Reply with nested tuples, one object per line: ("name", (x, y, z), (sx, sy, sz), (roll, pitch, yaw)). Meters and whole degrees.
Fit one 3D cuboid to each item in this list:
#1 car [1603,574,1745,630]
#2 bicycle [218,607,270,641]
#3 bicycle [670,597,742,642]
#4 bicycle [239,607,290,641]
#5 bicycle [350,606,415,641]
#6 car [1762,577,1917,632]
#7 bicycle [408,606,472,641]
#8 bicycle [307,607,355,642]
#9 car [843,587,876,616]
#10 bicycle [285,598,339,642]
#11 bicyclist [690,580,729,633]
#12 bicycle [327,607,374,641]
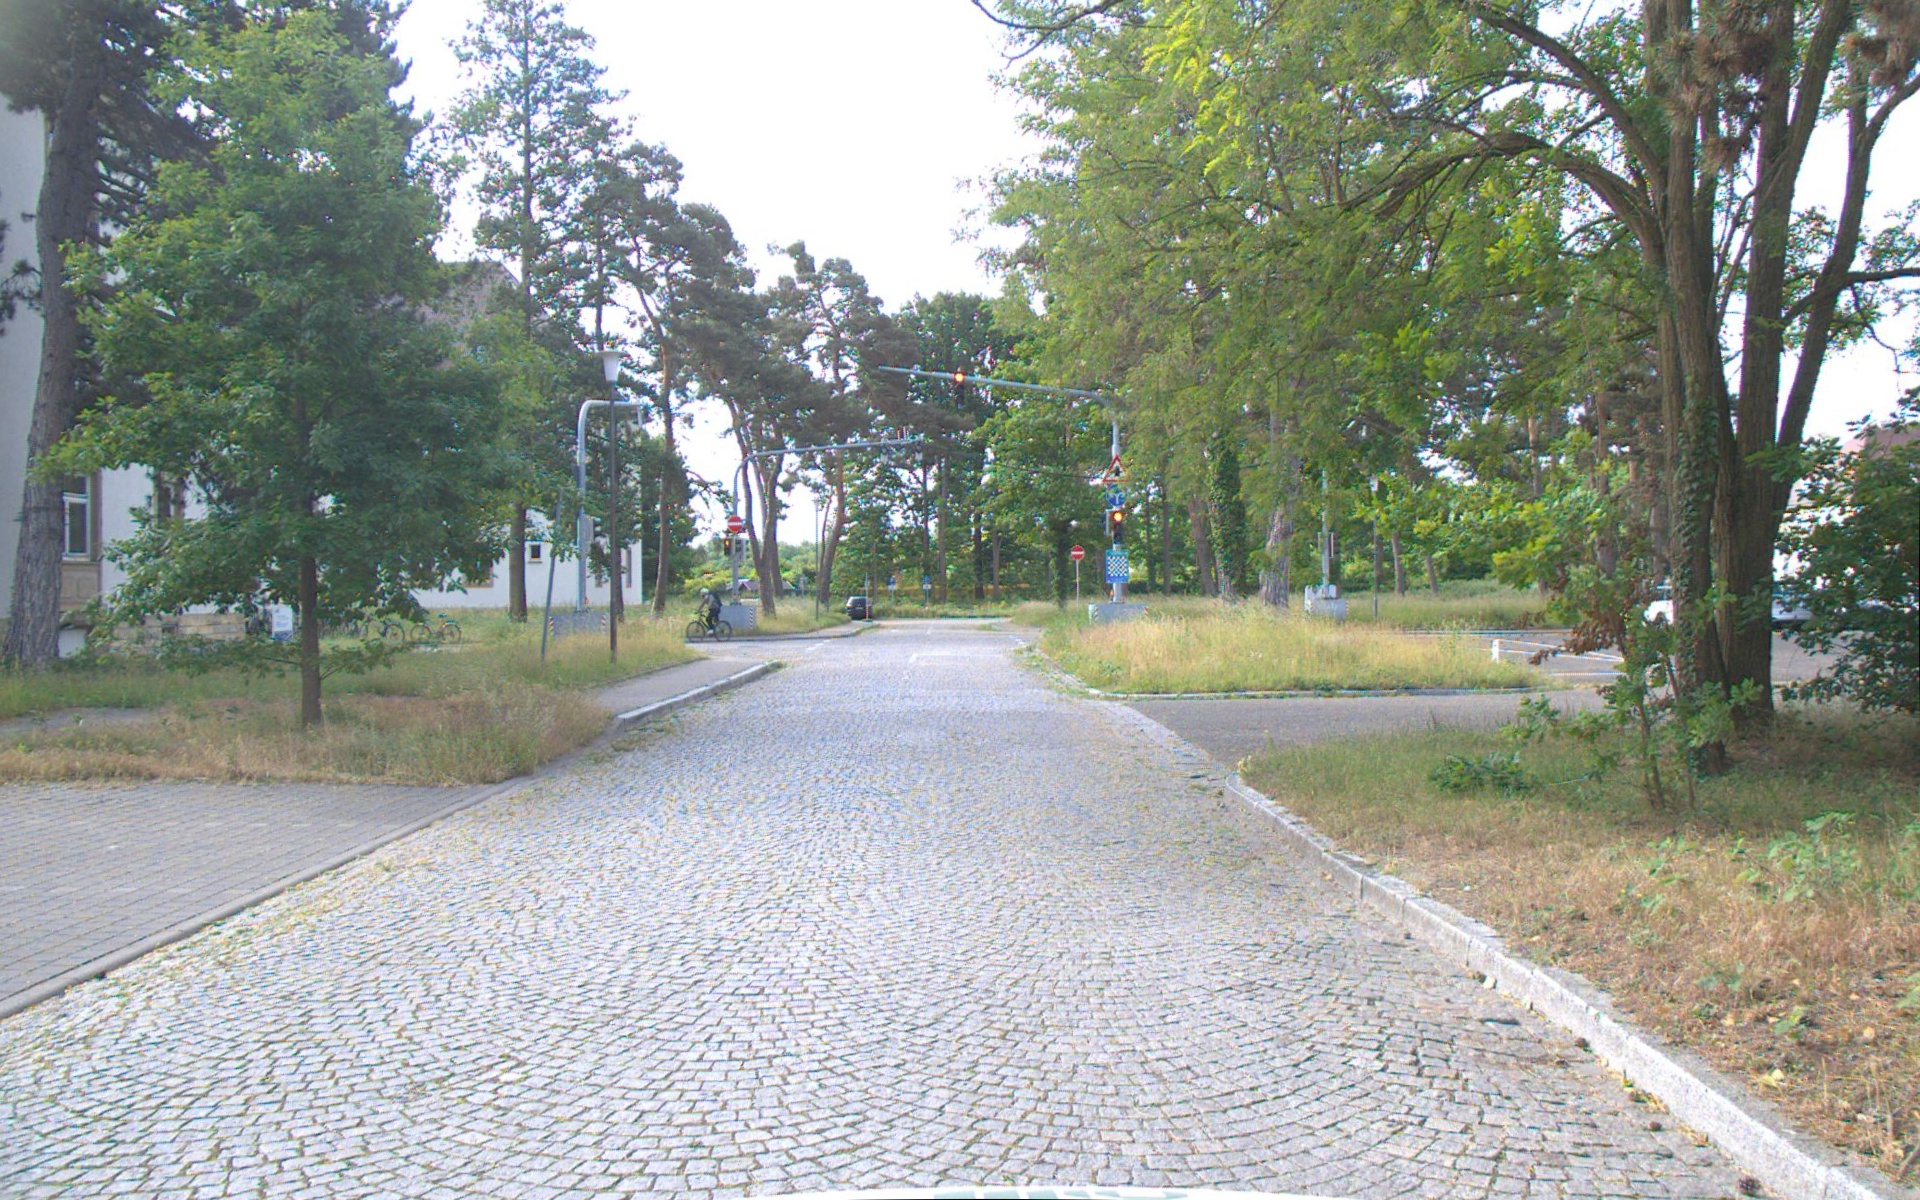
("car", (20.682, 0.085, 48.095), (1.954, 1.507, 4.421), (-1, -1, -4))
("bicycle", (-23.698, 0.783, 54.775), (0.721, 1.095, 2.273), (-1, 0, 0))
("bicycle", (-8.354, 0.641, 54.462), (2.167, 1.411, 0.925), (-1, 0, -42))
("bicycle", (-22.979, 0.778, 54.715), (0.721, 1.095, 2.273), (-1, 0, 0))
("bicycle", (-18.726, 0.762, 53.639), (1.818, 1.095, 0.738), (-1, 0, 1))
("car", (25.759, 0.155, 48.647), (1.954, 1.507, 4.421), (-1, -1, -4))
("bicycle", (-16.875, 0.751, 53.706), (1.818, 1.095, 0.831), (-1, 0, 1))
("bicycle", (-20.829, 0.798, 54.777), (0.721, 1.095, 2.273), (-1, 0, 0))
("car", (-6.747, 0.076, 111.197), (2.014, 1.878, 3.999), (-1, 0, -2))
("bicycle", (-21.565, 0.654, 55.120), (0.721, 1.410, 2.711), (-1, 0, 0))
("bicyclist", (-8.263, 0.216, 54.558), (0.915, 1.727, 0.942), (0, -1, -42))
("bicycle", (-20.201, 0.784, 54.867), (0.721, 1.095, 2.273), (-1, 0, 0))
